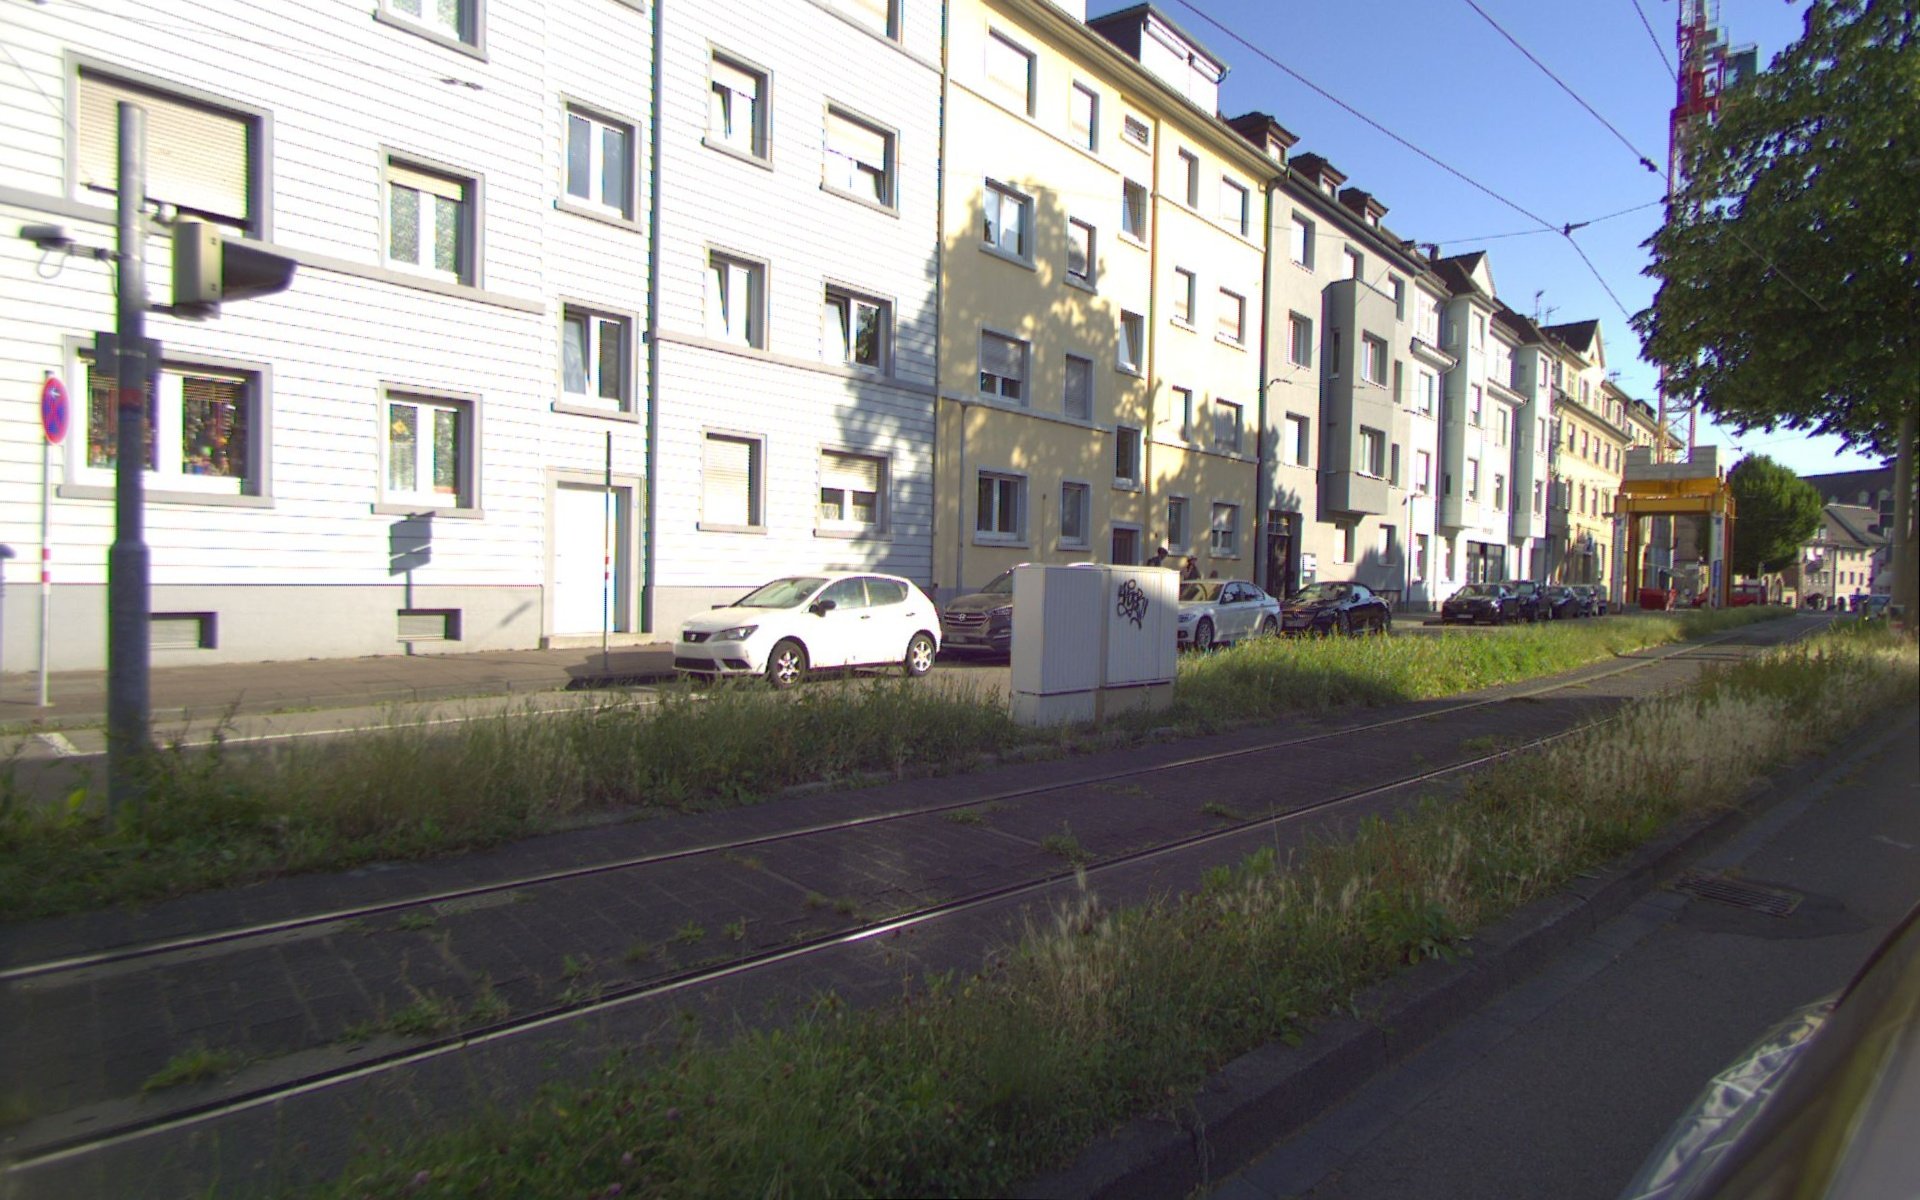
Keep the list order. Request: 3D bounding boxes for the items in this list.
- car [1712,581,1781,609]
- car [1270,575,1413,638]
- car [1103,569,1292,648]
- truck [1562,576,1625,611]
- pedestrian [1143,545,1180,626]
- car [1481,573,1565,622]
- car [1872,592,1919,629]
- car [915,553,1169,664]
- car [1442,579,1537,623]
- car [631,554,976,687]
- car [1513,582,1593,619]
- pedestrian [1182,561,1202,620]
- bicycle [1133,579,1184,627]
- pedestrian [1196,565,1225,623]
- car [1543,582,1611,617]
[{"bbox_3d":[61.363,-0.406,78.983,4.056,1.944,1.971,5,3,41],"label":"car"},{"bbox_3d":[9.964,0.149,26.256,1.993,1.403,4.379,5,3,41],"label":"car"},{"bbox_3d":[5.079,0.155,21.295,1.993,1.403,4.379,5,3,41],"label":"car"},{"bbox_3d":[32.345,-0.333,51.668,1.993,1.605,4.034,5,3,42],"label":"truck"},{"bbox_3d":[5.151,-0.380,25.870,0.612,2.038,0.639,4,2,42],"label":"pedestrian"},{"bbox_3d":[22.476,-0.104,40.333,1.993,1.770,4.146,5,3,41],"label":"car"},{"bbox_3d":[43.883,0.487,47.072,1.993,1.537,4.011,5,3,41],"label":"car"},{"bbox_3d":[1.540,0.070,17.449,1.993,1.591,4.572,5,4,41],"label":"car"},{"bbox_3d":[19.132,0.029,36.507,1.993,1.403,4.379,5,3,41],"label":"car"},{"bbox_3d":[-1.927,0.210,13.646,1.991,1.403,4.384,5,3,38],"label":"car"},{"bbox_3d":[25.836,0.039,44.047,1.995,1.403,4.142,5,3,44],"label":"car"},{"bbox_3d":[6.113,-0.257,26.658,0.303,1.533,0.438,4,3,35],"label":"pedestrian"},{"bbox_3d":[5.031,0.053,25.602,0.534,1.145,1.493,4,4,41],"label":"bicycle"},{"bbox_3d":[6.464,-0.151,26.083,0.523,1.458,0.454,4,2,43],"label":"pedestrian"},{"bbox_3d":[29.118,-0.041,47.702,1.993,1.470,4.034,5,3,42],"label":"car"}]
